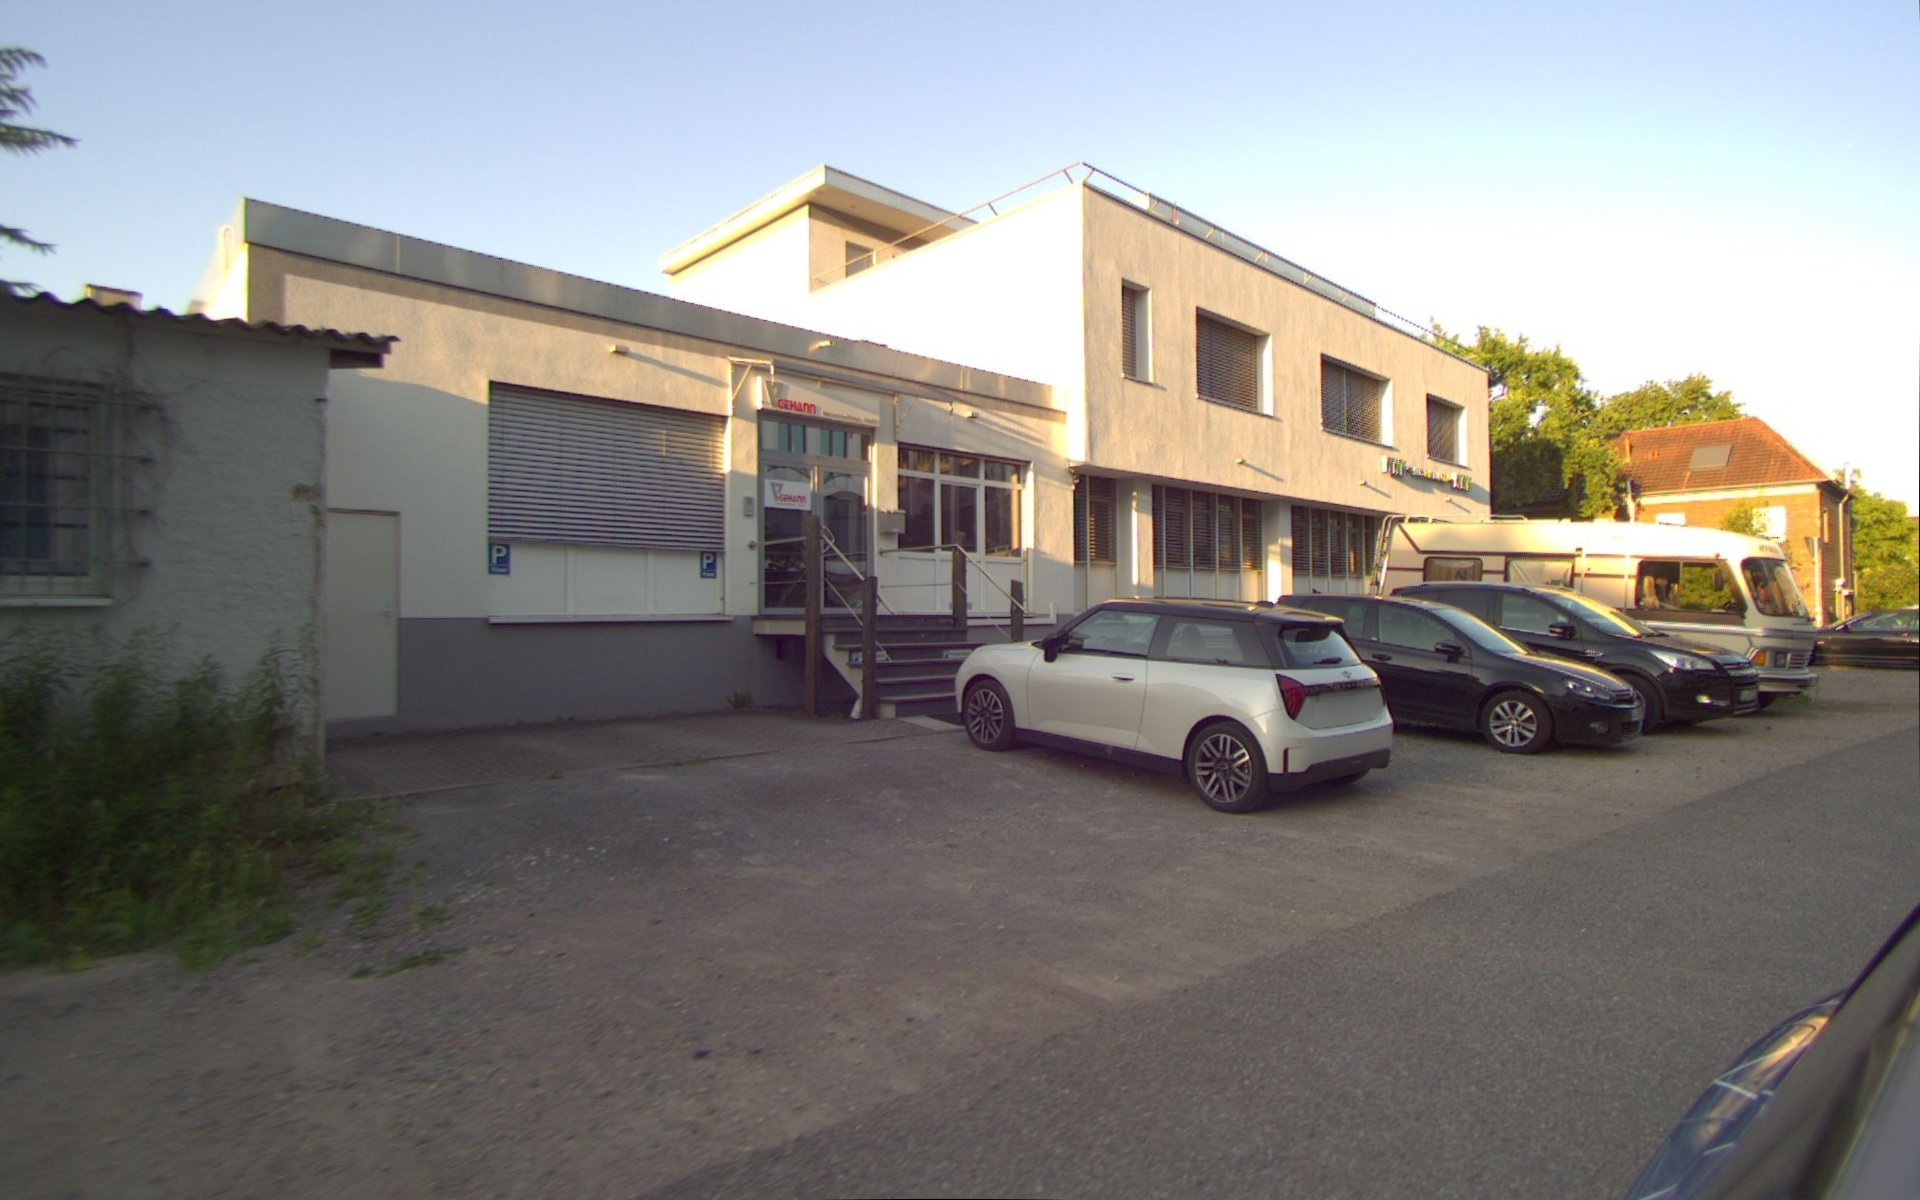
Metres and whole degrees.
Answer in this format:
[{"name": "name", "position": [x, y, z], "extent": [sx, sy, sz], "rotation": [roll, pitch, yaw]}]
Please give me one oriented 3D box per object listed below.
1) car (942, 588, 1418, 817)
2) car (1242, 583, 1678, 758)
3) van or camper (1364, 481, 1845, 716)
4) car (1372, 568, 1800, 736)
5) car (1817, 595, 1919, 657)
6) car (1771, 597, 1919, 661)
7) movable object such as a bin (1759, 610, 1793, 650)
[{"name": "car", "position": [1.667, 0.657, 8.589], "extent": [1.682, 1.497, 3.711], "rotation": [0, 0, -41]}, {"name": "car", "position": [5.336, 0.621, 11.188], "extent": [1.683, 1.583, 4.008], "rotation": [0, 0, -43]}, {"name": "van or camper", "position": [9.556, -0.051, 15.529], "extent": [2.443, 2.900, 5.791], "rotation": [0, 1, -40]}, {"name": "car", "position": [7.736, 0.518, 12.918], "extent": [1.930, 1.763, 4.255], "rotation": [0, 1, -34]}, {"name": "car", "position": [23.108, 0.620, 23.989], "extent": [1.863, 1.425, 4.062], "rotation": [1, 0, -41]}, {"name": "car", "position": [21.104, 0.636, 22.688], "extent": [1.863, 1.350, 4.322], "rotation": [-1, 1, -41]}, {"name": "movable object such as a bin", "position": [21.540, 0.796, 26.704], "extent": [0.642, 1.034, 0.701], "rotation": [-1, -1, 42]}]
